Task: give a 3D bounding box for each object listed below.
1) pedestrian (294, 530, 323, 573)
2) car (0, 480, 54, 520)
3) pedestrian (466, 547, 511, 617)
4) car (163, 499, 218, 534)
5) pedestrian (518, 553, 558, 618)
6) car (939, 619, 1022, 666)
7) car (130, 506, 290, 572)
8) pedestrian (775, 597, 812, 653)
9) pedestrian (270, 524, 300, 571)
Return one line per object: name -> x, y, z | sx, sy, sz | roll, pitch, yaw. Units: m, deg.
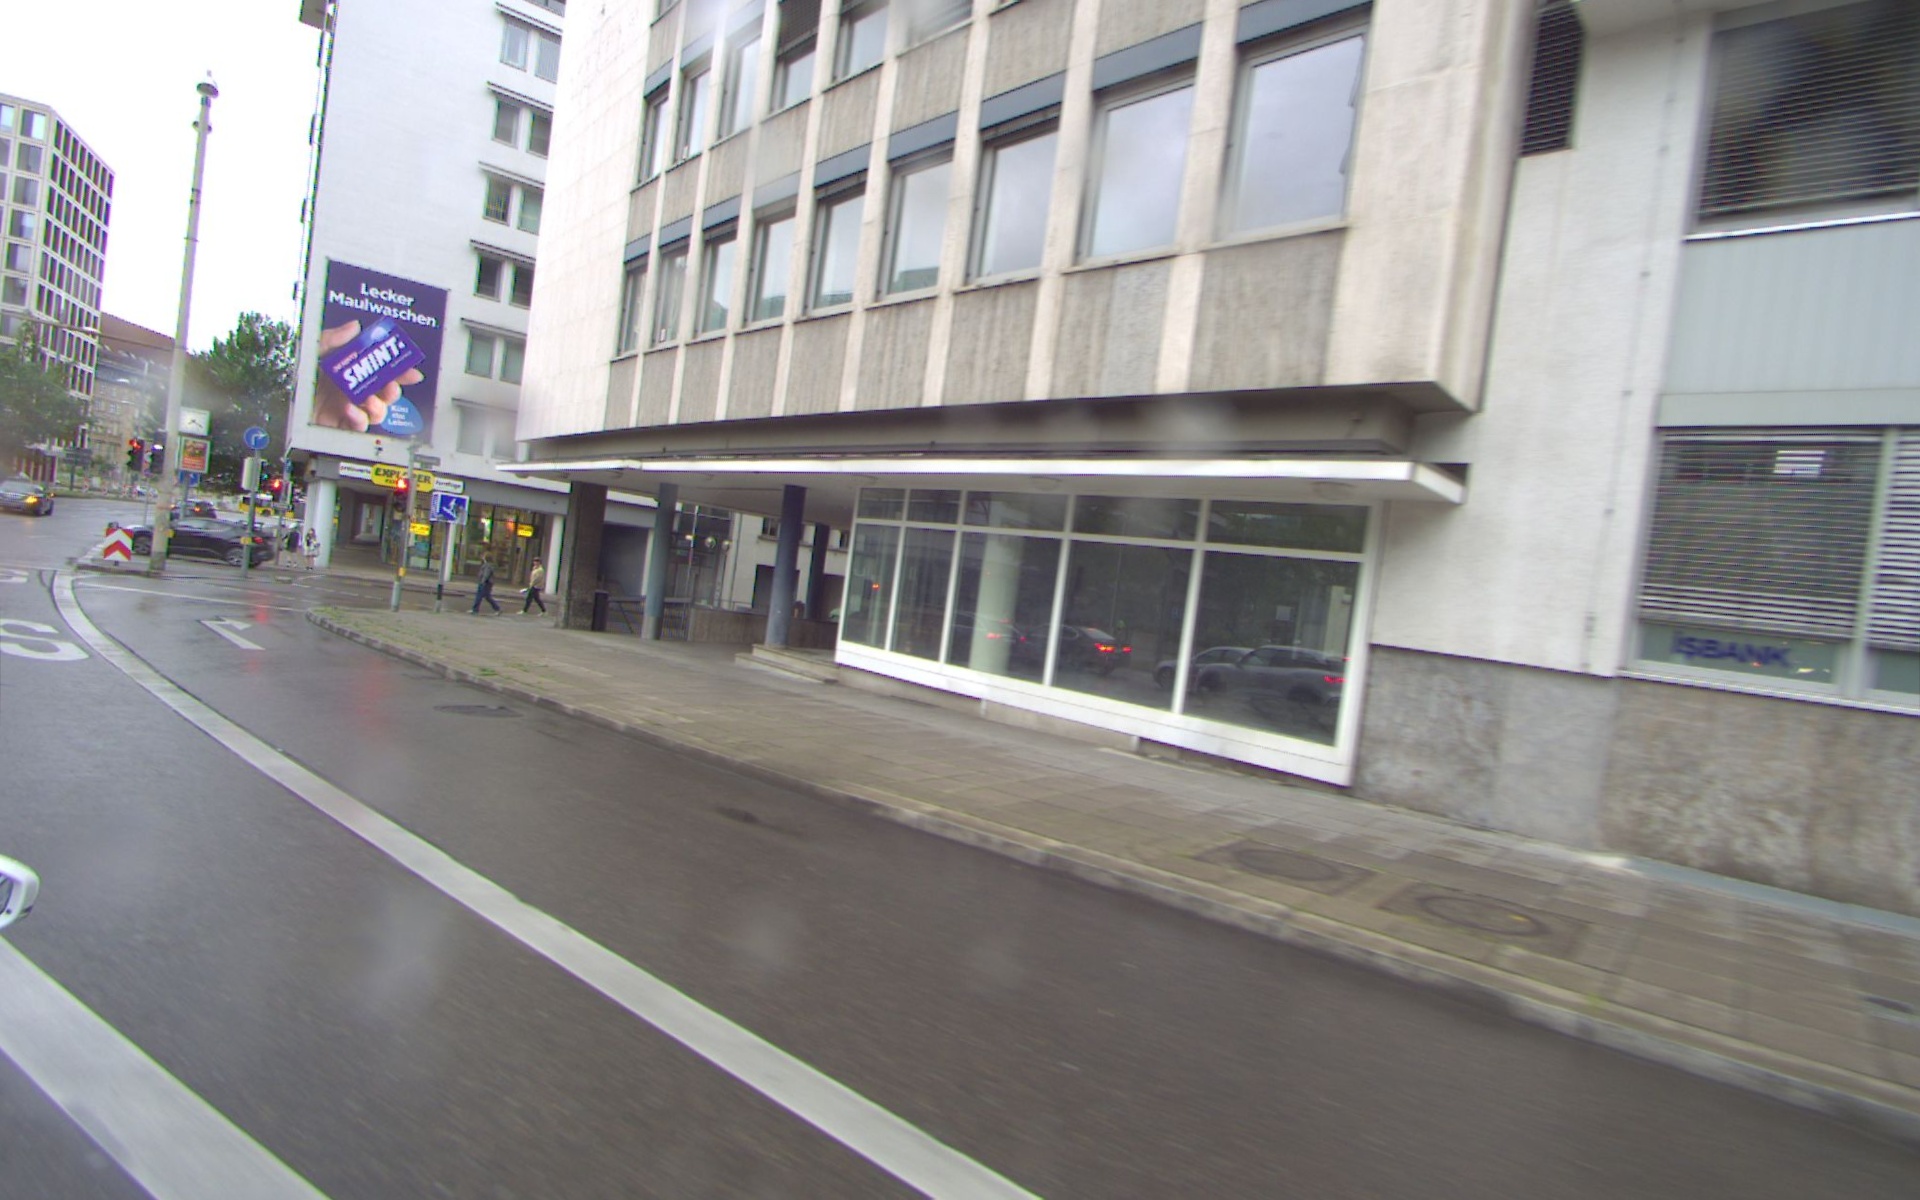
pedestrian -> -24.908, -1.855, 38.458 | 0.724, 1.542, 0.751 | 7, 0, -40
car -> -44.794, -4.791, 48.043 | 1.903, 1.527, 4.308 | 9, -2, -40
pedestrian -> -13.240, -0.499, 28.228 | 0.809, 1.820, 0.702 | 7, 1, -41
car -> -49.866, -5.355, 65.286 | 2.032, 1.786, 4.324 | 9, -1, -29
pedestrian -> -12.538, -0.432, 29.862 | 0.724, 1.820, 0.731 | 7, 1, -40
car -> 0.989, 2.152, 51.610 | 1.980, 1.771, 4.494 | 8, -1, -31
car -> -25.815, -2.065, 34.826 | 3.954, 1.570, 1.987 | 9, -1, -26
pedestrian -> -5.646, 0.836, 34.081 | 1.001, 1.776, 0.794 | 7, -1, -12
pedestrian -> -25.725, -2.002, 38.315 | 0.724, 1.688, 0.683 | 7, 0, -40
